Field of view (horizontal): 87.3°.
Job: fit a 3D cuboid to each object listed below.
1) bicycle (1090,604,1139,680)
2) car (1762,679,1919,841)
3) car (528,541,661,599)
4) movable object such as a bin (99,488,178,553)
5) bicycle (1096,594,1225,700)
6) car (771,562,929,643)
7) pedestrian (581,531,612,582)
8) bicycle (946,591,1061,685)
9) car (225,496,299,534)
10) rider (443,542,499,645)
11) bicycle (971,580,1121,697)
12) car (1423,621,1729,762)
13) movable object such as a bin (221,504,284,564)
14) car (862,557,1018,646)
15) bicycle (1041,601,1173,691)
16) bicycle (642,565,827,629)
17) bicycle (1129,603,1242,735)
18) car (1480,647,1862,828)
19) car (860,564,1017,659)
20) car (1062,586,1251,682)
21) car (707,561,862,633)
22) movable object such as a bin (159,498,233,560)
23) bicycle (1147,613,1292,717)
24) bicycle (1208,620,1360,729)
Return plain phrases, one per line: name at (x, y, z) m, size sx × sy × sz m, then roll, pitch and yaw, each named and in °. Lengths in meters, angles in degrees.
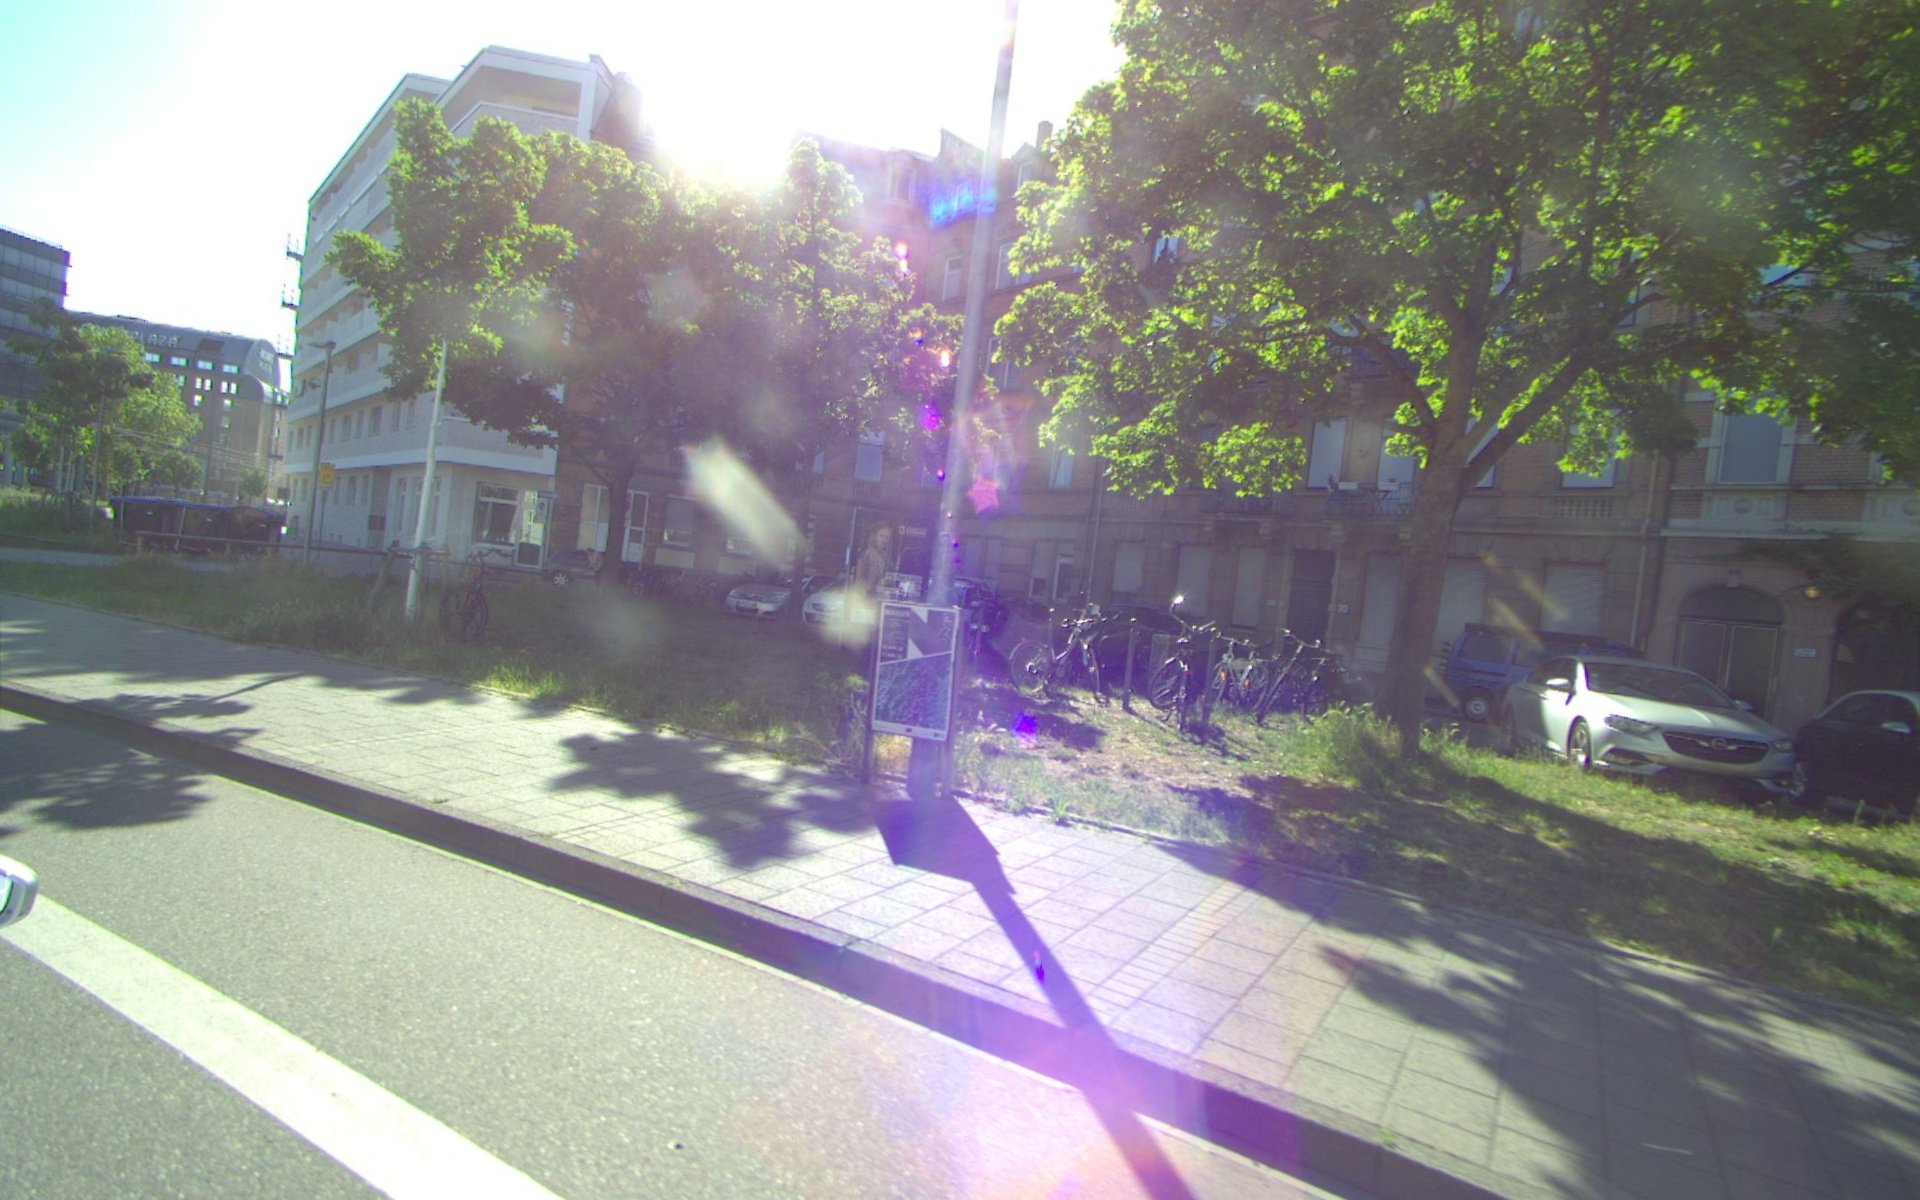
bicycle at (3.098, 0.837, 20.365) m, size 0.772 × 1.381 × 2.101 m, roll 7°, pitch 0°, yaw 7°
car at (10.096, 1.682, 9.984) m, size 1.889 × 1.397 × 3.616 m, roll 7°, pitch 0°, yaw 14°
car at (-12.556, -1.017, 34.830) m, size 4.044 × 1.454 × 1.994 m, roll 7°, pitch 0°, yaw -15°
movable object such as a bin at (-20.431, -1.955, 25.056) m, size 1.057 × 1.416 × 1.297 m, roll 7°, pitch 1°, yaw -22°
bicycle at (2.998, 0.723, 14.887) m, size 0.776 × 1.381 × 2.089 m, roll 7°, pitch 0°, yaw 42°
car at (-2.427, 0.120, 23.149) m, size 1.729 × 1.459 × 3.840 m, roll 7°, pitch 0°, yaw 26°
pedestrian at (-12.218, -1.454, 33.835) m, size 0.631 × 1.596 × 0.771 m, roll 6°, pitch 1°, yaw -5°
bicycle at (0.781, 0.675, 17.140) m, size 0.775 × 1.415 × 2.093 m, roll 7°, pitch 0°, yaw 37°
car at (-50.434, -6.116, 72.806) m, size 3.952 × 2.038 × 1.987 m, roll 7°, pitch 0°, yaw -27°
rider at (-6.362, -0.115, 13.148) m, size 0.497 × 1.191 × 1.665 m, roll 6°, pitch 1°, yaw -24°
bicycle at (1.203, 0.552, 13.577) m, size 0.776 × 1.381 × 2.089 m, roll 7°, pitch 0°, yaw 42°
car at (12.134, 1.712, 20.096) m, size 1.985 × 2.004 × 4.667 m, roll 4°, pitch 3°, yaw -41°
movable object such as a bin at (-18.594, -1.714, 26.481) m, size 1.018 × 1.416 × 1.085 m, roll 7°, pitch 1°, yaw -22°
car at (-0.767, 0.008, 33.923) m, size 2.338 × 2.388 × 5.126 m, roll 4°, pitch 3°, yaw -41°
bicycle at (2.304, 0.735, 15.553) m, size 0.811 × 1.172 × 2.157 m, roll 7°, pitch 0°, yaw 44°
bicycle at (-6.497, -0.105, 28.641) m, size 5.151 × 1.141 × 2.669 m, roll 7°, pitch 0°, yaw 43°
bicycle at (2.549, 0.746, 11.586) m, size 0.756 × 1.307 × 1.596 m, roll 6°, pitch 1°, yaw -2°
car at (7.977, 1.405, 11.984) m, size 2.007 × 1.397 × 4.754 m, roll 7°, pitch 0°, yaw 14°
car at (-0.313, 0.296, 21.473) m, size 1.901 × 1.585 × 4.471 m, roll 7°, pitch 0°, yaw 17°
car at (5.272, 0.888, 27.484) m, size 1.985 × 2.004 × 4.667 m, roll 4°, pitch 3°, yaw -41°
car at (-4.225, -0.025, 24.874) m, size 1.806 × 1.353 × 4.055 m, roll 7°, pitch 0°, yaw 22°
movable object such as a bin at (-19.598, -1.810, 25.850) m, size 1.096 × 1.416 × 1.314 m, roll 7°, pitch 1°, yaw -22°
bicycle at (3.447, 0.863, 13.272) m, size 1.949 × 1.207 × 0.831 m, roll 5°, pitch 2°, yaw -43°
bicycle at (4.098, 0.937, 12.635) m, size 1.937 × 1.196 × 0.889 m, roll 5°, pitch 1°, yaw -43°
